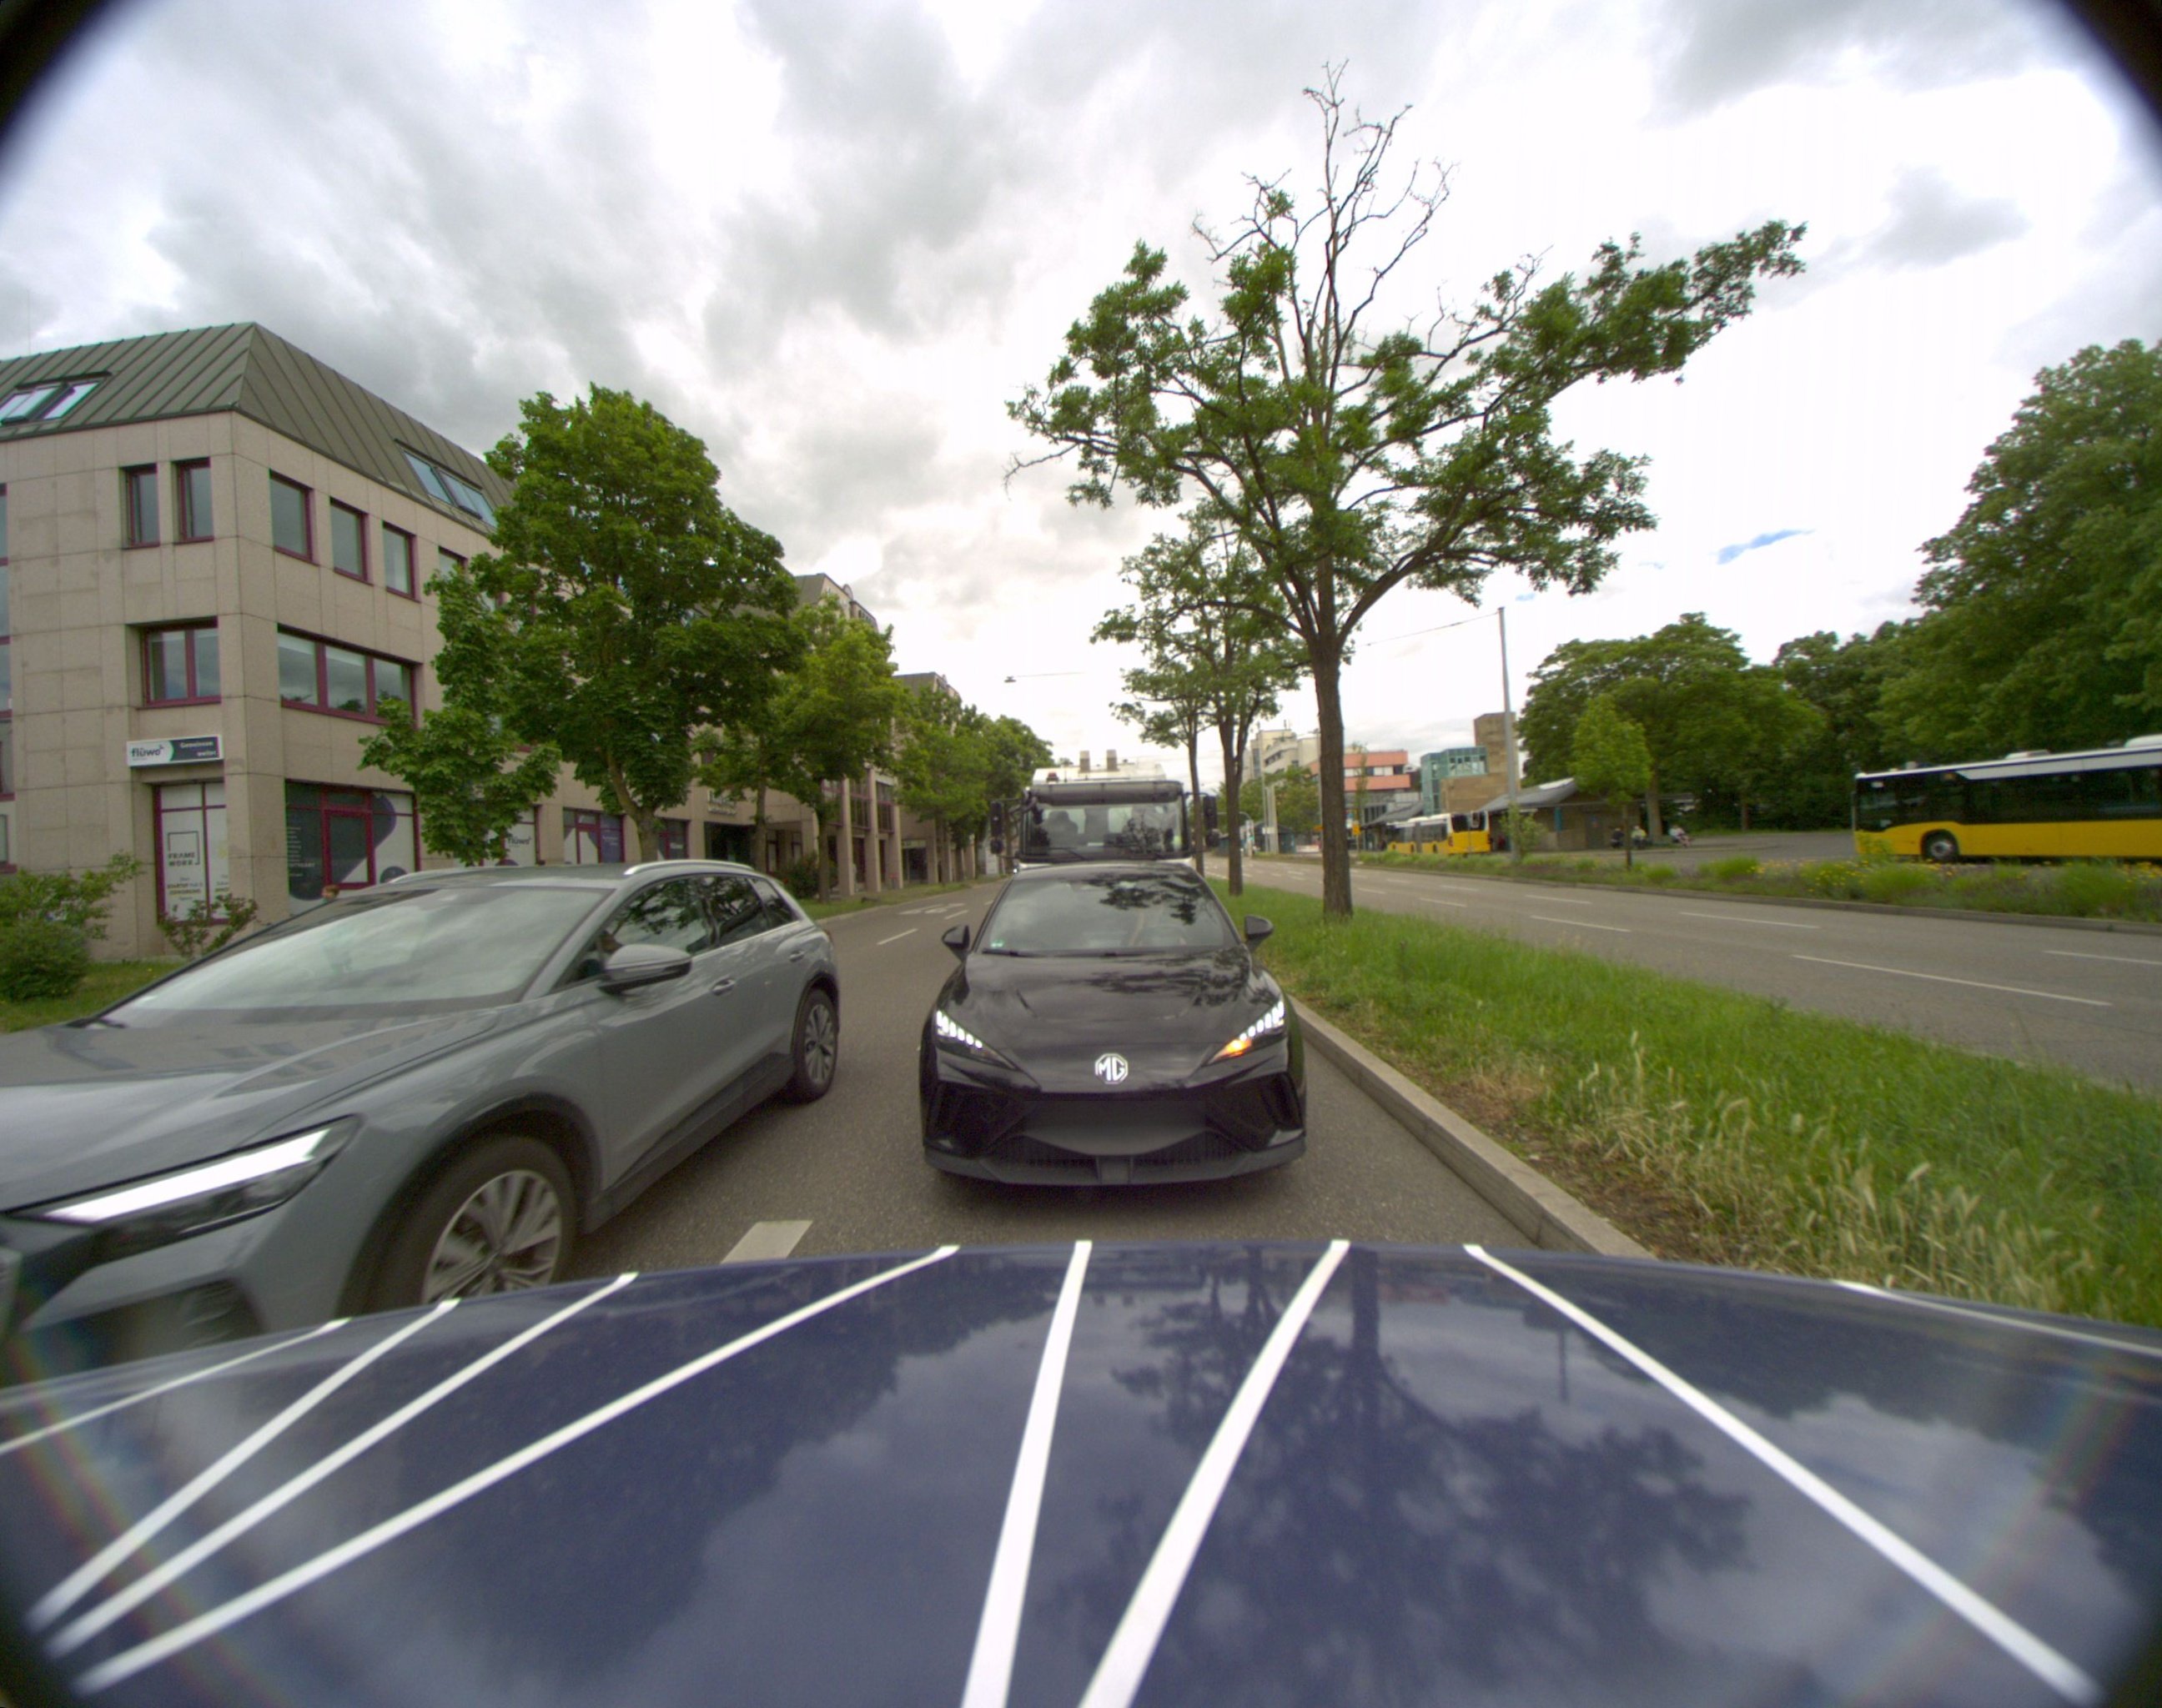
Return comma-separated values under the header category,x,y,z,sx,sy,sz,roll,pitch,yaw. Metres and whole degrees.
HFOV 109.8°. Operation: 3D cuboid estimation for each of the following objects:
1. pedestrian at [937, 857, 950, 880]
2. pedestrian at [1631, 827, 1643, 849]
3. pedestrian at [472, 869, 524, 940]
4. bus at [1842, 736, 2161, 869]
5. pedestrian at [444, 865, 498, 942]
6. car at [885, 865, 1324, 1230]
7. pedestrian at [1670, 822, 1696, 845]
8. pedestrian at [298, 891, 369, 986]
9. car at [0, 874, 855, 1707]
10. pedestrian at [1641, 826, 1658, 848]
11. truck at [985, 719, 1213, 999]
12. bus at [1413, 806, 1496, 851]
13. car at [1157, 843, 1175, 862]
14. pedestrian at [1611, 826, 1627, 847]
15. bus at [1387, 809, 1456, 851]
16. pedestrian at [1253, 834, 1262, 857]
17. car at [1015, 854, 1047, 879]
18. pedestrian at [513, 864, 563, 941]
category,x,y,z,sx,sy,sz,roll,pitch,yaw
pedestrian,-11.022,1.181,60.953,0.719,1.811,0.949,-2,1,1
pedestrian,30.216,-0.889,41.294,0.367,1.160,0.899,-2,1,26
pedestrian,-14.096,1.206,18.391,0.642,1.637,0.677,-3,1,1
bus,25.933,-1.236,19.612,2.888,2.985,10.397,-3,0,6
pedestrian,-14.702,1.177,18.325,0.642,1.795,0.677,-3,1,1
car,0.127,0.866,5.275,1.827,1.430,4.000,-3,0,1
pedestrian,31.959,-1.080,40.353,0.650,1.165,0.925,-2,1,1
pedestrian,-12.450,1.383,12.669,0.496,1.510,0.677,0,1,1
car,-2.667,0.986,3.392,1.896,1.586,4.313,-3,0,1
pedestrian,30.671,-0.903,41.009,0.598,1.155,0.744,-2,1,26
truck,0.324,0.056,12.660,2.544,3.187,7.369,-3,0,2
bus,26.061,-1.674,53.553,2.887,2.793,9.183,-3,0,12
car,9.447,-0.152,84.903,1.726,2.002,4.001,-3,0,3
pedestrian,30.623,-0.993,43.260,0.598,1.155,0.744,-2,1,27
bus,27.649,-1.856,62.224,2.887,2.985,9.182,-3,0,10
pedestrian,21.557,-1.024,92.719,0.903,2.772,1.148,-2,1,13
car,-3.209,0.781,49.470,1.661,1.504,3.999,-2,1,1
pedestrian,-13.210,1.160,18.500,0.642,1.795,0.677,-3,1,1
